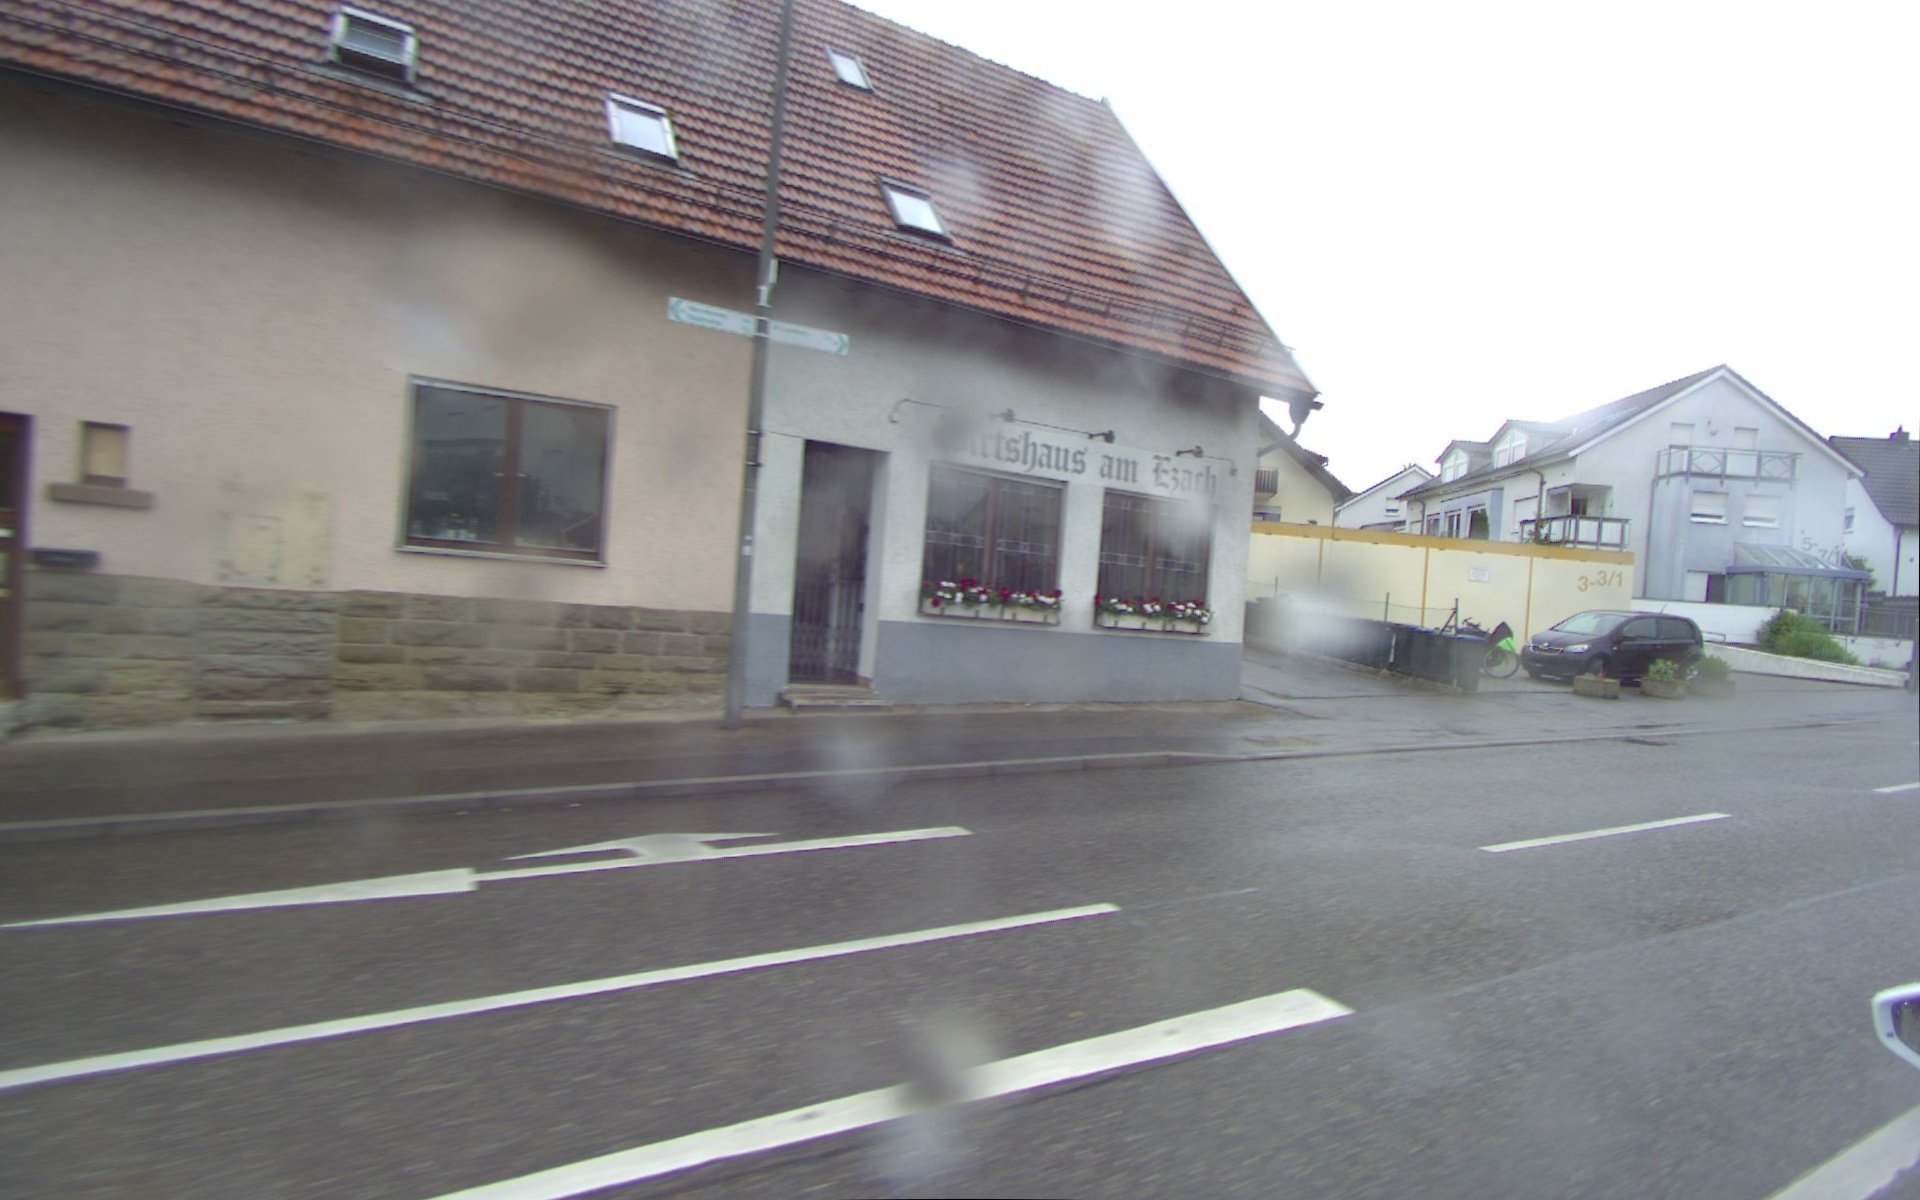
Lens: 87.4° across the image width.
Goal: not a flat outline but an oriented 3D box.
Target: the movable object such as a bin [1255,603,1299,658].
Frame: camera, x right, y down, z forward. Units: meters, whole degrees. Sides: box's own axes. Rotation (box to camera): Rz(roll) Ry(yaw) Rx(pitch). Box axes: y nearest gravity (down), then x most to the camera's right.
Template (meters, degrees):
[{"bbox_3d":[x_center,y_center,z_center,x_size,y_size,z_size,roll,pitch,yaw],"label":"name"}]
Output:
[{"bbox_3d":[7.215,0.698,22.891,0.595,1.146,0.637,1,8,-16],"label":"movable object such as a bin"}]

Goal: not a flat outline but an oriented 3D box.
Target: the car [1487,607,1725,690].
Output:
[{"bbox_3d":[13.095,0.967,20.469,3.761,1.461,1.903,2,2,-11],"label":"car"}]

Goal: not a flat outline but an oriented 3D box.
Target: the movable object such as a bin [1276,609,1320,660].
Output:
[{"bbox_3d":[7.452,0.763,22.161,0.595,1.046,0.637,1,5,-16],"label":"movable object such as a bin"}]

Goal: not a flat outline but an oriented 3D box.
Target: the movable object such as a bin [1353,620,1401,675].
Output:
[{"bbox_3d":[8.143,0.929,19.629,0.595,1.046,0.638,1,-1,-16],"label":"movable object such as a bin"}]

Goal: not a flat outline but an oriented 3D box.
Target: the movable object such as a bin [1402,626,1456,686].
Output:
[{"bbox_3d":[8.411,1.003,18.012,0.595,1.046,0.638,1,-1,-16],"label":"movable object such as a bin"}]

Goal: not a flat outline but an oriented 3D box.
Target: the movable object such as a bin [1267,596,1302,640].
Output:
[{"bbox_3d":[8.373,0.469,25.946,0.612,1.093,0.671,1,-1,-7],"label":"movable object such as a bin"}]

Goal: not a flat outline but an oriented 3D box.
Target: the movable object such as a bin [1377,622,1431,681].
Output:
[{"bbox_3d":[8.377,0.968,18.979,0.595,1.046,0.638,1,4,-16],"label":"movable object such as a bin"}]

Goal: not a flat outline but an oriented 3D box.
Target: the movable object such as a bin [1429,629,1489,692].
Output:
[{"bbox_3d":[8.596,1.035,17.313,0.662,1.046,0.638,1,-1,-16],"label":"movable object such as a bin"}]

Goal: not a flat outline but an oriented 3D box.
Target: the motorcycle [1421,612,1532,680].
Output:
[{"bbox_3d":[10.587,0.912,20.686,0.767,1.129,2.111,3,4,-13],"label":"motorcycle"}]

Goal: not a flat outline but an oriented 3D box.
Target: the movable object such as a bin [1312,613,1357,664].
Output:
[{"bbox_3d":[7.819,0.800,20.992,0.595,1.046,0.638,1,-1,-16],"label":"movable object such as a bin"}]

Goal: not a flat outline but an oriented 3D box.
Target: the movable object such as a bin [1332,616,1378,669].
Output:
[{"bbox_3d":[7.982,0.847,20.304,0.595,1.046,0.638,1,-1,-16],"label":"movable object such as a bin"}]

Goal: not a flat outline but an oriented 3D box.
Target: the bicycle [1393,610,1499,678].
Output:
[{"bbox_3d":[9.877,0.865,20.517,0.725,1.128,2.098,4,3,-13],"label":"bicycle"}]
